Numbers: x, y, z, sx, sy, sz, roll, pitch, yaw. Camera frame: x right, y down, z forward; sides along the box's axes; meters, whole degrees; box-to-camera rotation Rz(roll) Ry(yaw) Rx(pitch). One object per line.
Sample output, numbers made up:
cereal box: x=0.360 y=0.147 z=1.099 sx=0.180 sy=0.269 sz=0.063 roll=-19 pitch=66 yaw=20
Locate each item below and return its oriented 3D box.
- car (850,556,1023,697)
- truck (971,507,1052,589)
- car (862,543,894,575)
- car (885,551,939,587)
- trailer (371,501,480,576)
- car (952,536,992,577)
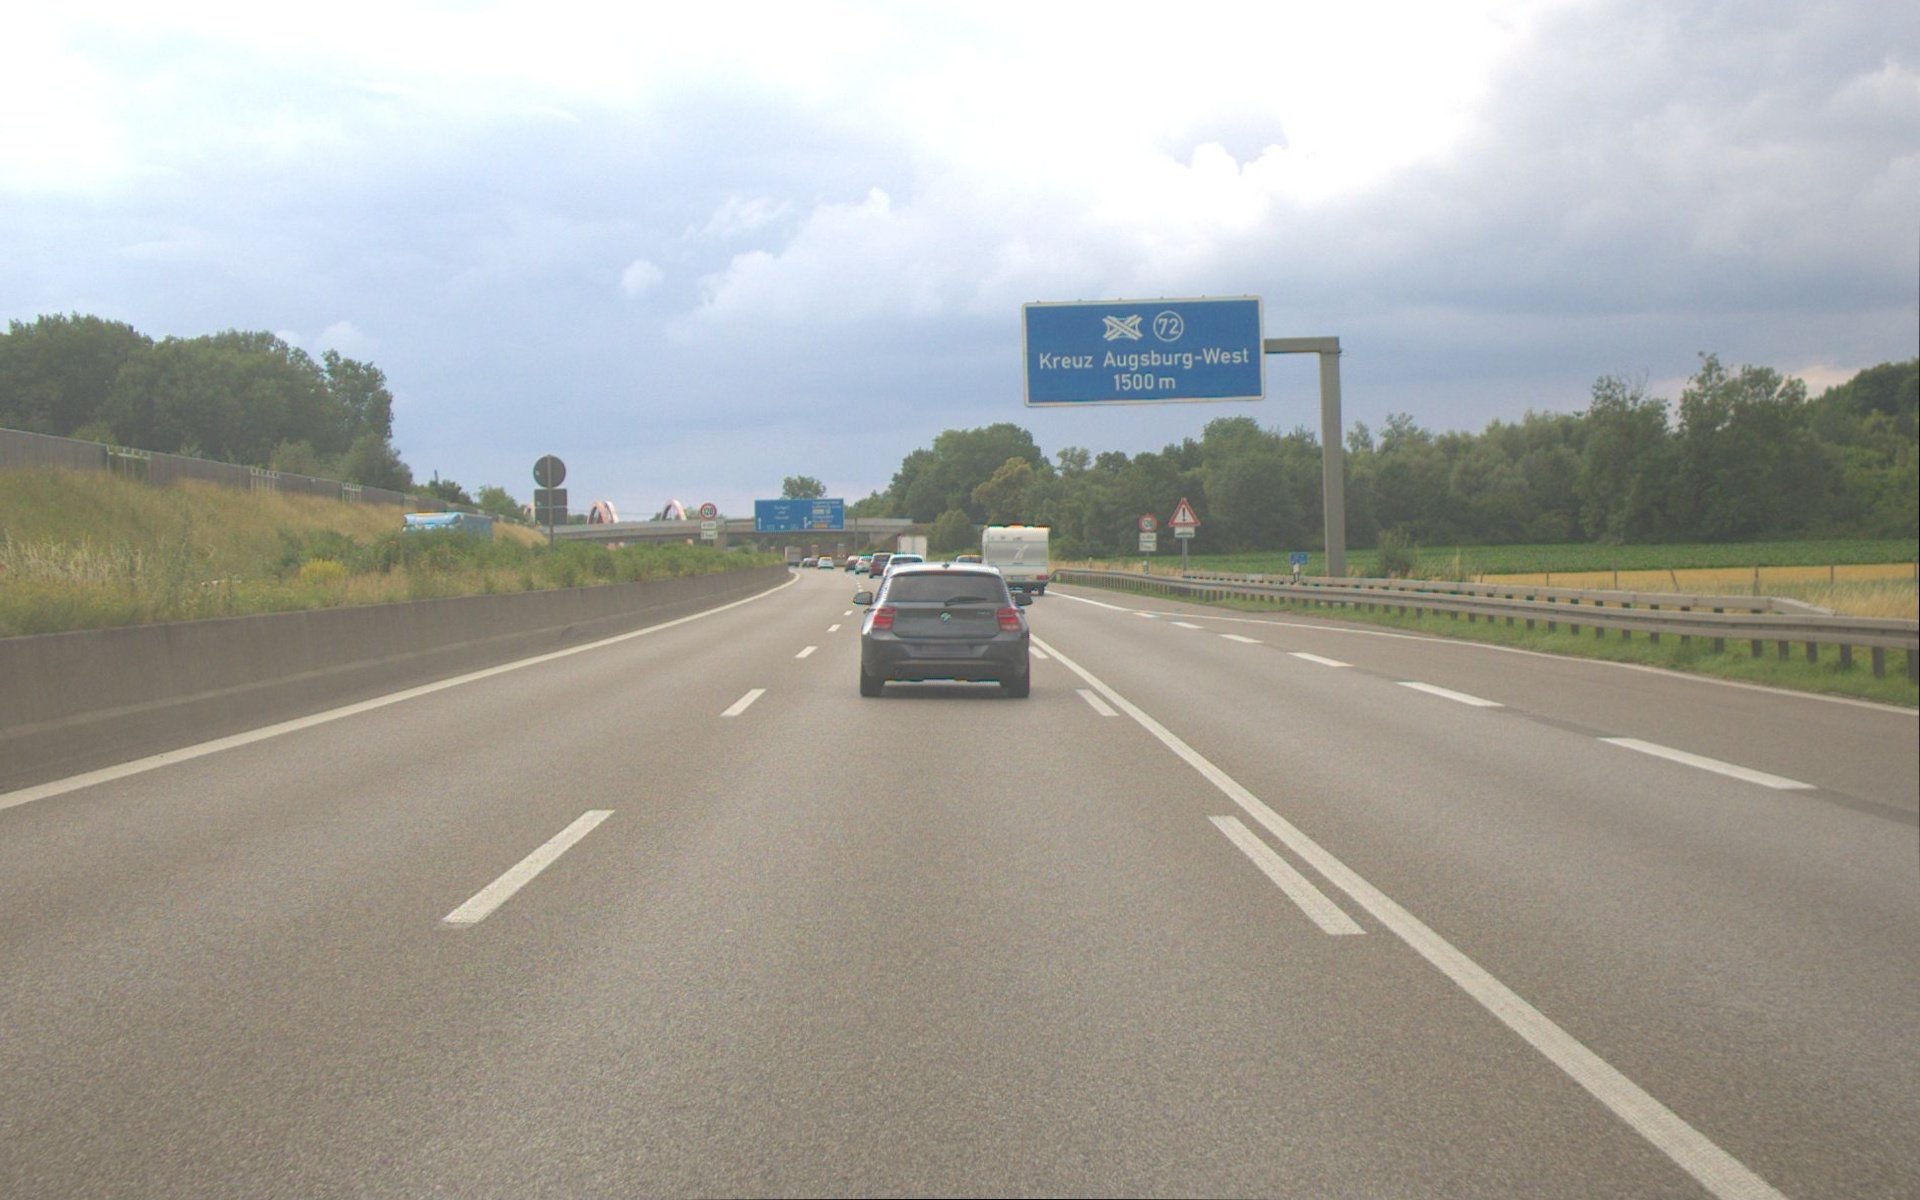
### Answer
car: x=-0.252 y=0.247 z=36.869 sx=1.743 sy=1.384 sz=4.000 roll=0 pitch=1 yaw=0
truck: x=1.891 y=-1.984 z=130.929 sx=2.710 sy=2.954 sz=12.448 roll=1 pitch=1 yaw=-1
car: x=-5.351 y=-2.698 z=224.484 sx=1.993 sy=2.007 sz=4.000 roll=-1 pitch=1 yaw=-1
car: x=-1.809 y=-1.185 z=130.302 sx=1.993 sy=1.293 sz=4.000 roll=-1 pitch=1 yaw=-1
trailer: x=-22.493 y=-2.601 z=145.270 sx=2.938 sy=3.001 sz=11.618 roll=1 pitch=1 yaw=-1
car: x=0.603 y=-2.251 z=177.821 sx=1.993 sy=2.007 sz=4.000 roll=-1 pitch=1 yaw=-1
